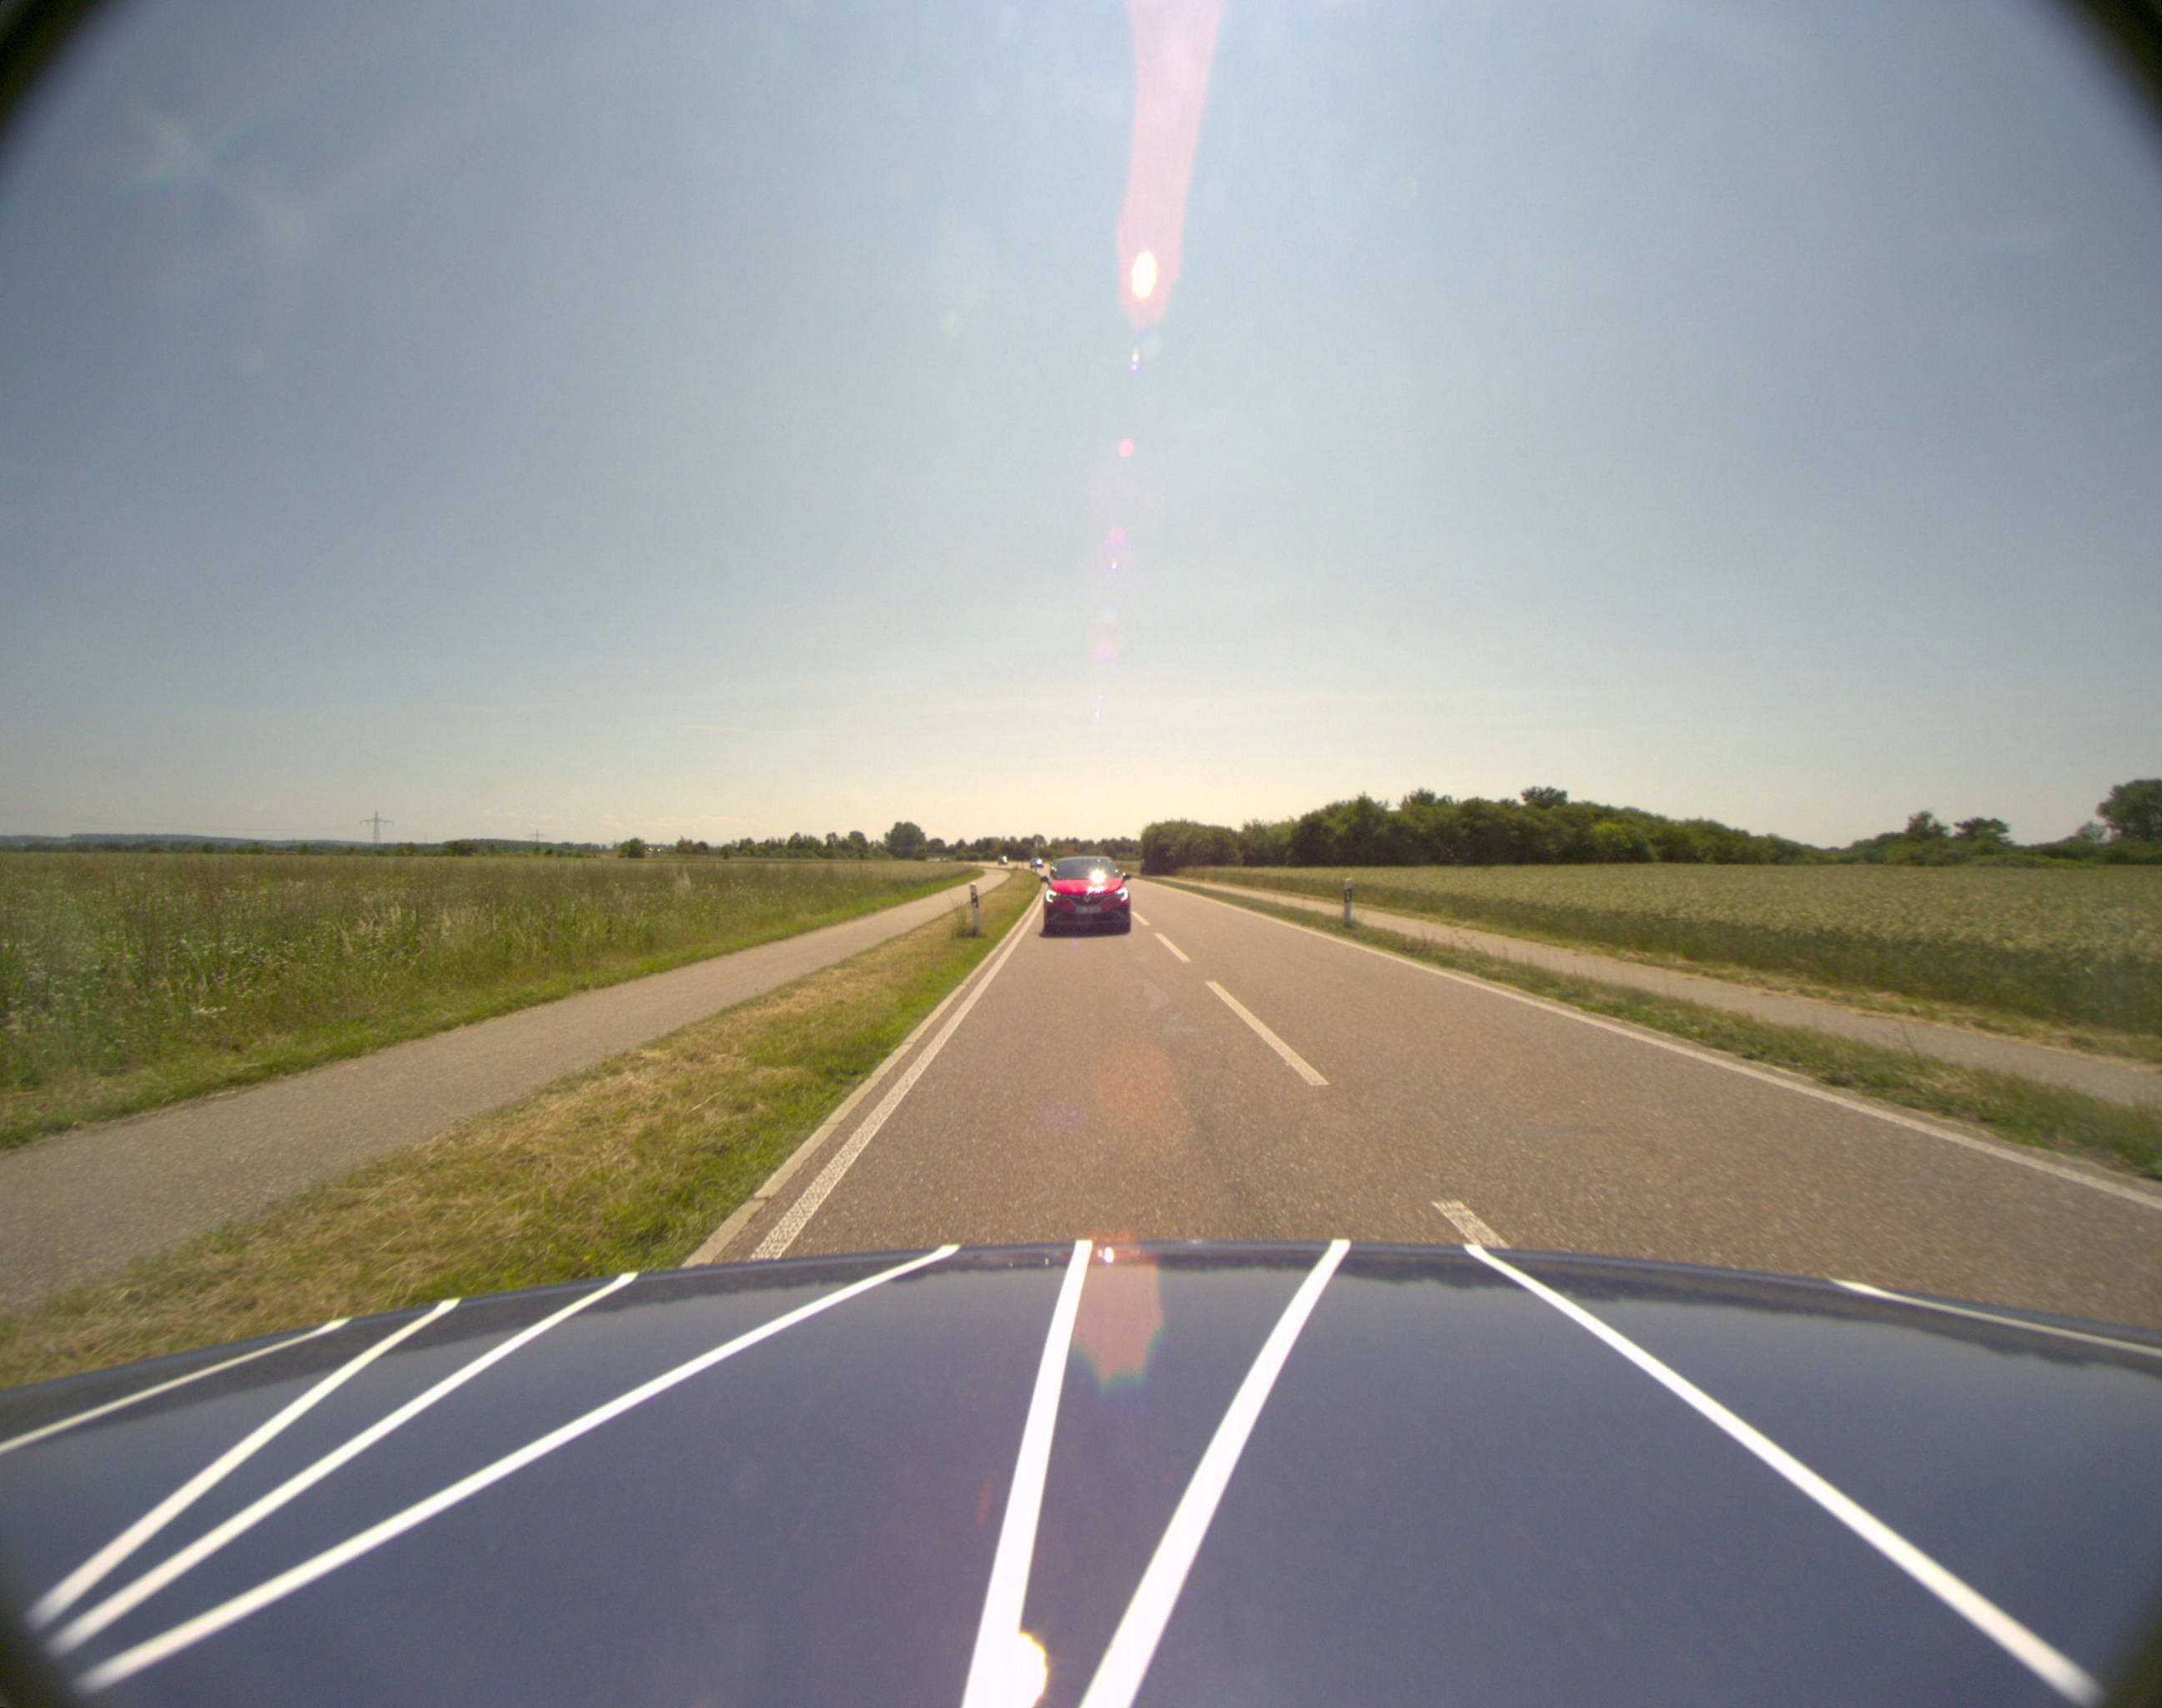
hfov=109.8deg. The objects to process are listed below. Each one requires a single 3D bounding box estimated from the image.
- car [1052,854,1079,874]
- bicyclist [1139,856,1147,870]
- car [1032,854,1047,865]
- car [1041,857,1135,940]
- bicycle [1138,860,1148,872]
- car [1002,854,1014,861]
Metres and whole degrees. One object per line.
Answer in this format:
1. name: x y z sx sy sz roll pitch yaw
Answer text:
1. car: -1.371 0.782 64.791 1.984 1.587 5.399 -1 0 -4
2. bicyclist: 6.323 0.941 77.783 0.666 1.430 0.822 -1 1 -5
3. car: -6.198 0.767 113.440 1.984 1.587 5.398 -1 0 -6
4. car: 0.134 0.891 17.427 1.837 1.587 4.721 -1 0 0
5. bicycle: 6.322 1.219 77.855 0.696 1.169 1.963 0 0 -4
6. car: -16.113 0.776 167.361 1.985 1.587 5.395 -1 0 -13
